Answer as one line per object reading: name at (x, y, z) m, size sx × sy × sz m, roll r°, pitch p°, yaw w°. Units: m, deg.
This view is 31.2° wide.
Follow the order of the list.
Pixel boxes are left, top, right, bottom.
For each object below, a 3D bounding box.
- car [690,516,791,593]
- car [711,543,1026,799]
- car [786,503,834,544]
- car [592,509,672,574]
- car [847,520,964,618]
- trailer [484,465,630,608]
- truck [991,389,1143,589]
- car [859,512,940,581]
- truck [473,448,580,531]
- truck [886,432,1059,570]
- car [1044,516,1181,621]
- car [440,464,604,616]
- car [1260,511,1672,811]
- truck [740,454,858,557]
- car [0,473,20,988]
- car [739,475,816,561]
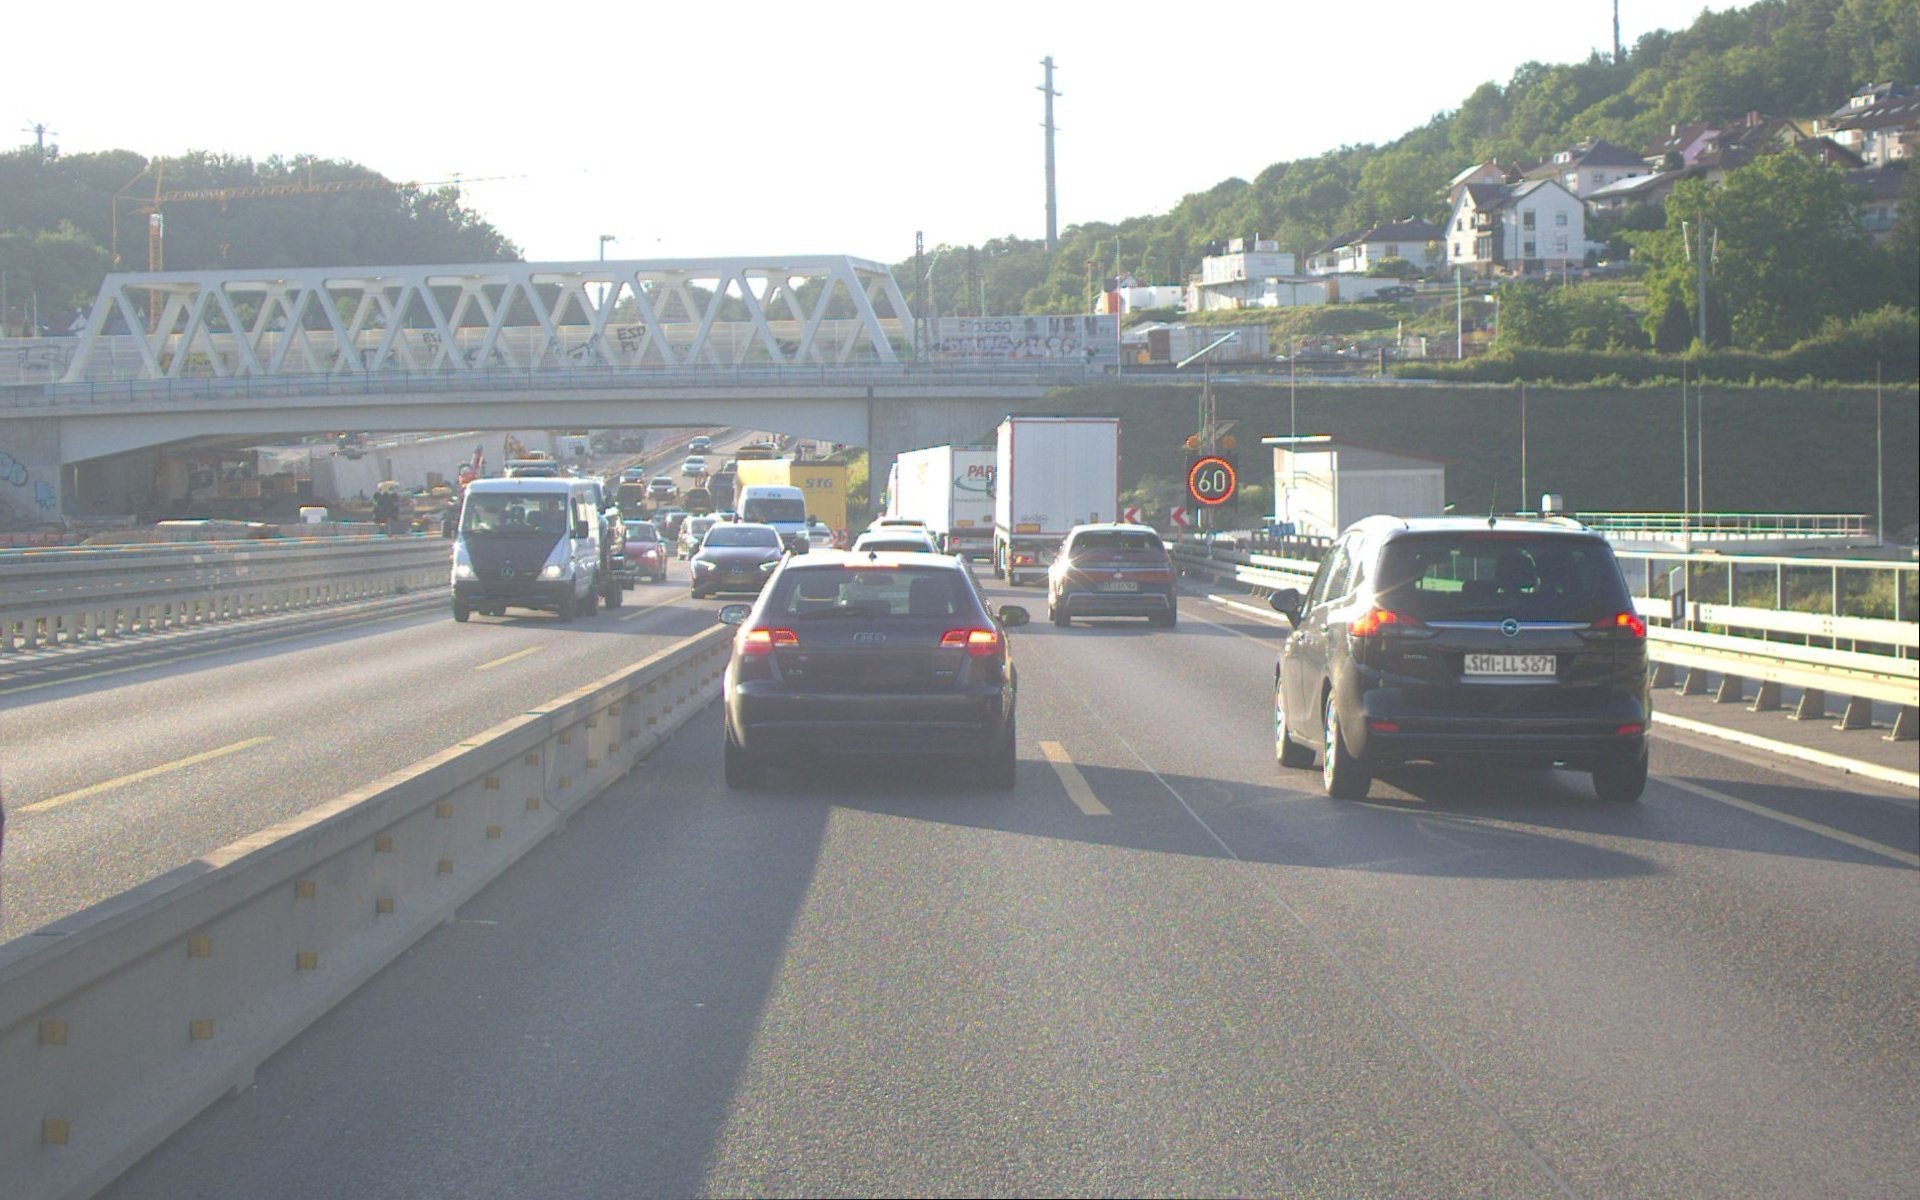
car at (-4.530, -0.973, 71.325) m, size 1.993 × 1.525 × 5.783 m, roll 1°, pitch 1°, yaw -3°
car at (-0.577, 0.372, 21.531) m, size 1.770 × 1.385 × 4.001 m, roll 1°, pitch 1°, yaw -2°
car at (-5.854, -2.980, 133.877) m, size 1.792 × 1.534 × 4.368 m, roll 0°, pitch 1°, yaw -3°
car at (-8.008, -1.446, 84.123) m, size 1.617 × 1.546 × 4.088 m, roll 0°, pitch 1°, yaw -1°
car at (-0.919, -0.534, 55.831) m, size 1.765 × 1.481 × 4.001 m, roll 2°, pitch 1°, yaw -2°
trailer at (-7.137, -1.146, 61.370) m, size 2.076 × 2.412 × 5.219 m, roll 1°, pitch 1°, yaw -1°
truck at (2.545, -2.687, 86.066) m, size 3.385 × 4.483 × 15.267 m, roll 1°, pitch 1°, yaw 1°
car at (-1.406, -1.236, 78.386) m, size 1.765 × 1.481 × 4.001 m, roll 2°, pitch 1°, yaw -2°
truck at (-21.028, -5.345, 166.307) m, size 2.930 × 3.877 × 10.267 m, roll 0°, pitch 2°, yaw -20°
truck at (0.253, -3.464, 121.844) m, size 3.889 × 4.483 × 15.271 m, roll 1°, pitch 1°, yaw -8°
car at (2.386, -0.534, 54.579) m, size 1.770 × 1.547 × 4.001 m, roll 2°, pitch 1°, yaw -3°
car at (-7.039, -0.994, 55.806) m, size 1.993 × 2.315 × 5.935 m, roll 1°, pitch 1°, yaw -1°
car at (2.979, 0.283, 21.138) m, size 1.814 × 1.626 × 4.411 m, roll 1°, pitch 1°, yaw -1°
truck at (-7.544, -4.464, 158.734) m, size 3.889 × 4.482 × 13.853 m, roll 1°, pitch 2°, yaw -9°
car at (-3.951, 0.461, 9.125) m, size 1.838 × 1.634 × 4.000 m, roll -1°, pitch 1°, yaw -1°
car at (-5.391, -2.445, 102.204) m, size 2.073 × 2.449 × 6.267 m, roll 1°, pitch 1°, yaw -1°
